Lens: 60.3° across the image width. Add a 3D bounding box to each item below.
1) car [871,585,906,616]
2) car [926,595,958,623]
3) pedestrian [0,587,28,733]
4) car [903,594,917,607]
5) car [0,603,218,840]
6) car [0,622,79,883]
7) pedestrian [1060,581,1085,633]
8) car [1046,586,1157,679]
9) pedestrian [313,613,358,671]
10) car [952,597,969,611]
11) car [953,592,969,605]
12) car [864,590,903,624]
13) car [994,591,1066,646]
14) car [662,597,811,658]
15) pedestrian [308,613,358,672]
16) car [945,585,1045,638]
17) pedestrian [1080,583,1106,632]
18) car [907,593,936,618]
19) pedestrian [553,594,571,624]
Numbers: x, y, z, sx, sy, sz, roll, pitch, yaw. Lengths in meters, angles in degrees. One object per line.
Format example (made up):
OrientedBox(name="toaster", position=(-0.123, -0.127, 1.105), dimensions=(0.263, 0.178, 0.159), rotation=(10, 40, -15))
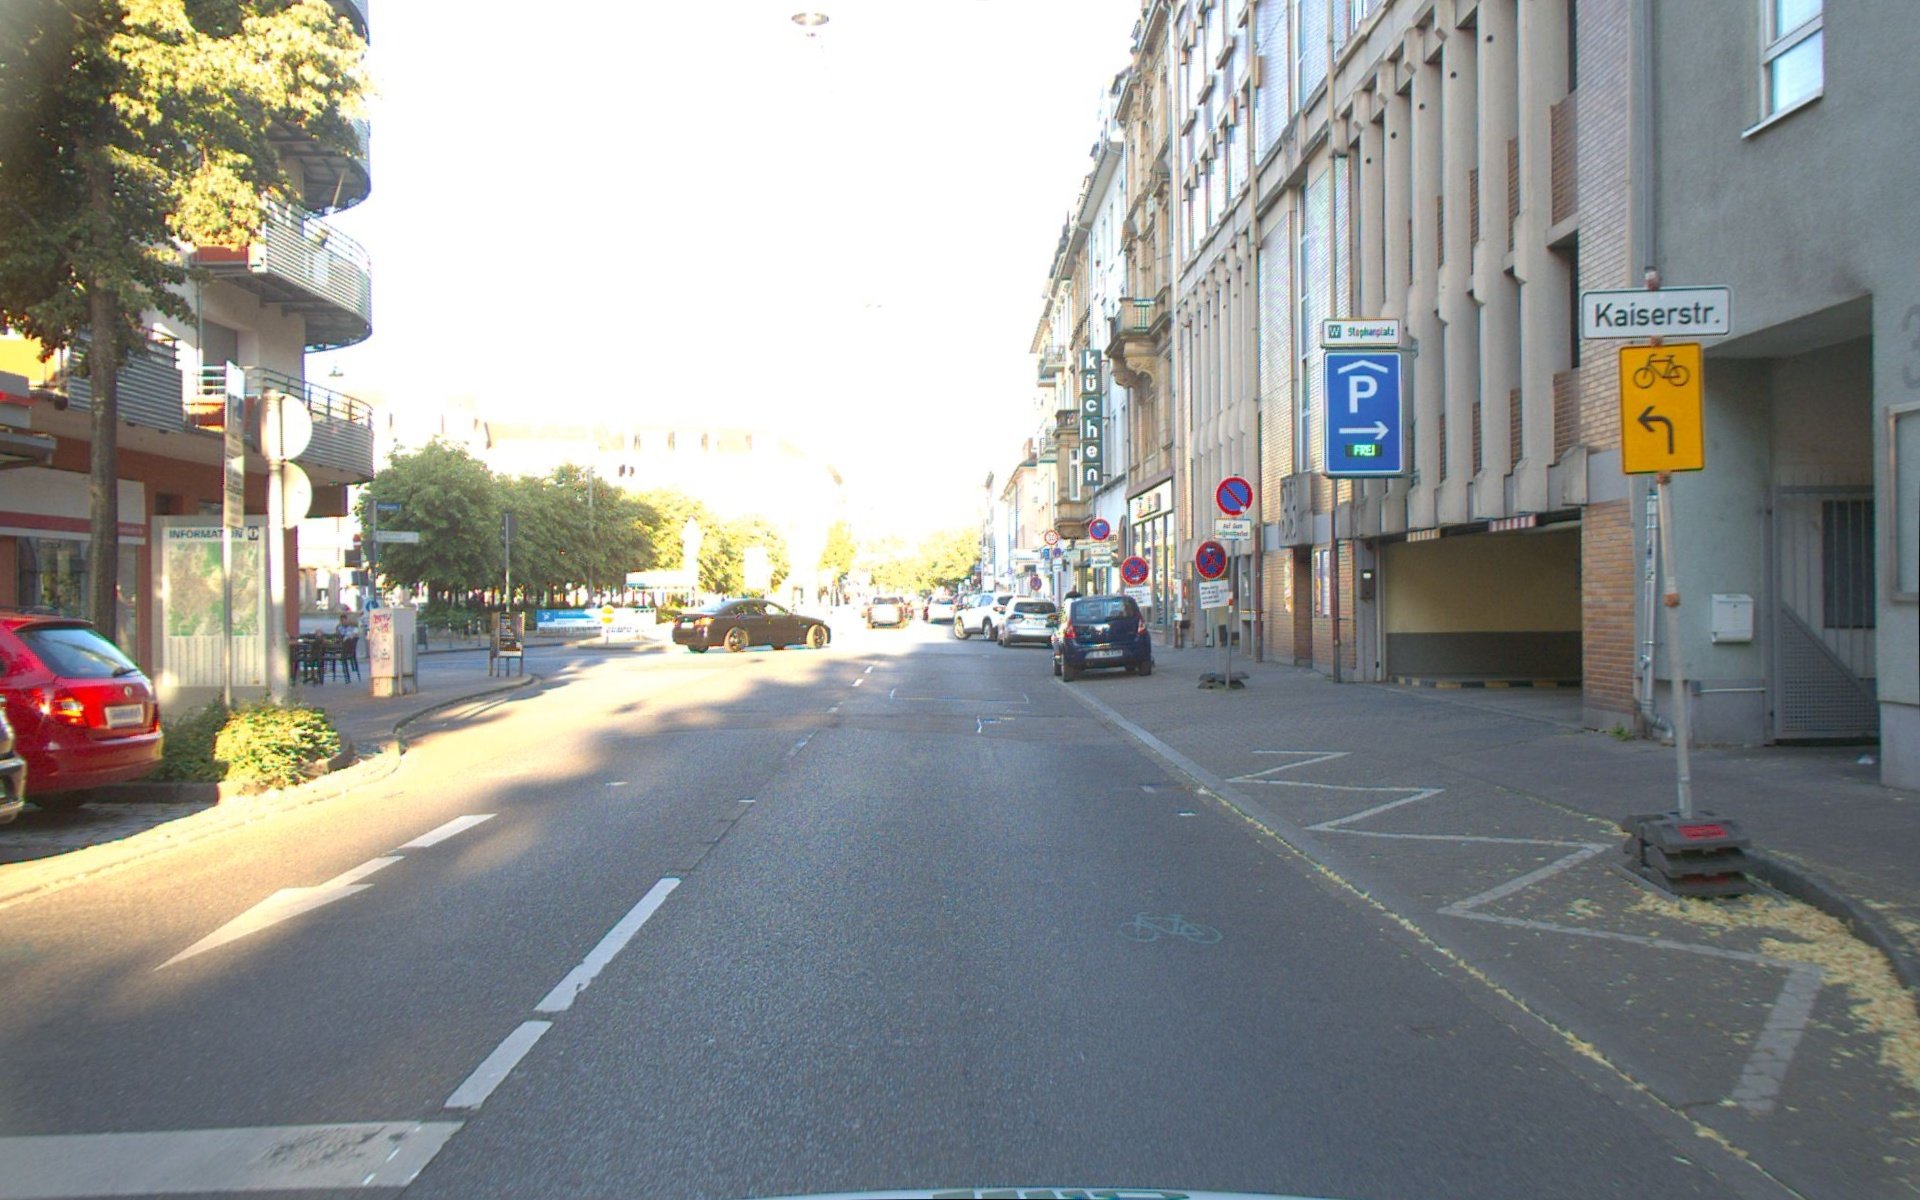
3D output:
OrientedBox(name="car", position=(-3.978, 0.030, 92.129), dimensions=(1.858, 1.678, 4.103), rotation=(0, 0, -2))
OrientedBox(name="car", position=(-1.082, 0.515, 98.729), dimensions=(1.858, 1.609, 3.999), rotation=(1, 0, -1))
OrientedBox(name="pedestrian", position=(-10.539, 0.633, 17.599), dimensions=(0.719, 1.555, 0.875), rotation=(1, -1, -1))
OrientedBox(name="car", position=(-6.267, 0.030, 207.047), dimensions=(1.743, 1.574, 3.999), rotation=(0, 0, -2))
OrientedBox(name="car", position=(-7.811, 0.805, 11.990), dimensions=(3.990, 1.563, 1.884), rotation=(0, 0, -1))
OrientedBox(name="car", position=(-7.583, 0.843, 9.077), dimensions=(4.478, 1.432, 1.821), rotation=(0, 0, -3))
OrientedBox(name="pedestrian", position=(4.066, 0.249, 59.988), dimensions=(0.757, 1.859, 1.010), rotation=(-2, 0, -2))
OrientedBox(name="car", position=(2.660, 0.578, 31.909), dimensions=(1.723, 1.563, 4.000), rotation=(-4, 0, 0))
OrientedBox(name="pedestrian", position=(-14.180, 0.952, 37.566), dimensions=(0.811, 1.295, 0.747), rotation=(-1, -1, -10))
OrientedBox(name="car", position=(0.044, 0.439, 184.900), dimensions=(1.858, 1.609, 3.850), rotation=(1, 0, -1))
OrientedBox(name="car", position=(0.153, -0.198, 203.416), dimensions=(1.858, 1.609, 3.850), rotation=(-1, 0, -1))
OrientedBox(name="car", position=(-3.823, 0.332, 83.574), dimensions=(1.858, 1.678, 4.103), rotation=(0, 0, -1))
OrientedBox(name="car", position=(2.084, 0.558, 50.464), dimensions=(1.724, 1.563, 4.818), rotation=(1, 0, -3))
OrientedBox(name="car", position=(-6.178, 0.740, 46.044), dimensions=(1.866, 1.609, 3.982), rotation=(1, 0, 37))
OrientedBox(name="pedestrian", position=(-13.947, 0.949, 36.821), dimensions=(0.881, 1.264, 0.766), rotation=(-1, -1, -10))
OrientedBox(name="car", position=(1.201, 0.403, 58.987), dimensions=(1.966, 1.792, 4.434), rotation=(-1, 0, -23))
OrientedBox(name="pedestrian", position=(4.827, 0.266, 60.070), dimensions=(0.757, 1.741, 1.041), rotation=(-2, 0, -2))
OrientedBox(name="car", position=(-2.627, 0.349, 112.525), dimensions=(1.858, 1.608, 3.850), rotation=(2, 0, -1))
OrientedBox(name="pedestrian", position=(-21.650, 0.463, 89.967), dimensions=(0.663, 1.623, 0.677), rotation=(0, 0, 18))
